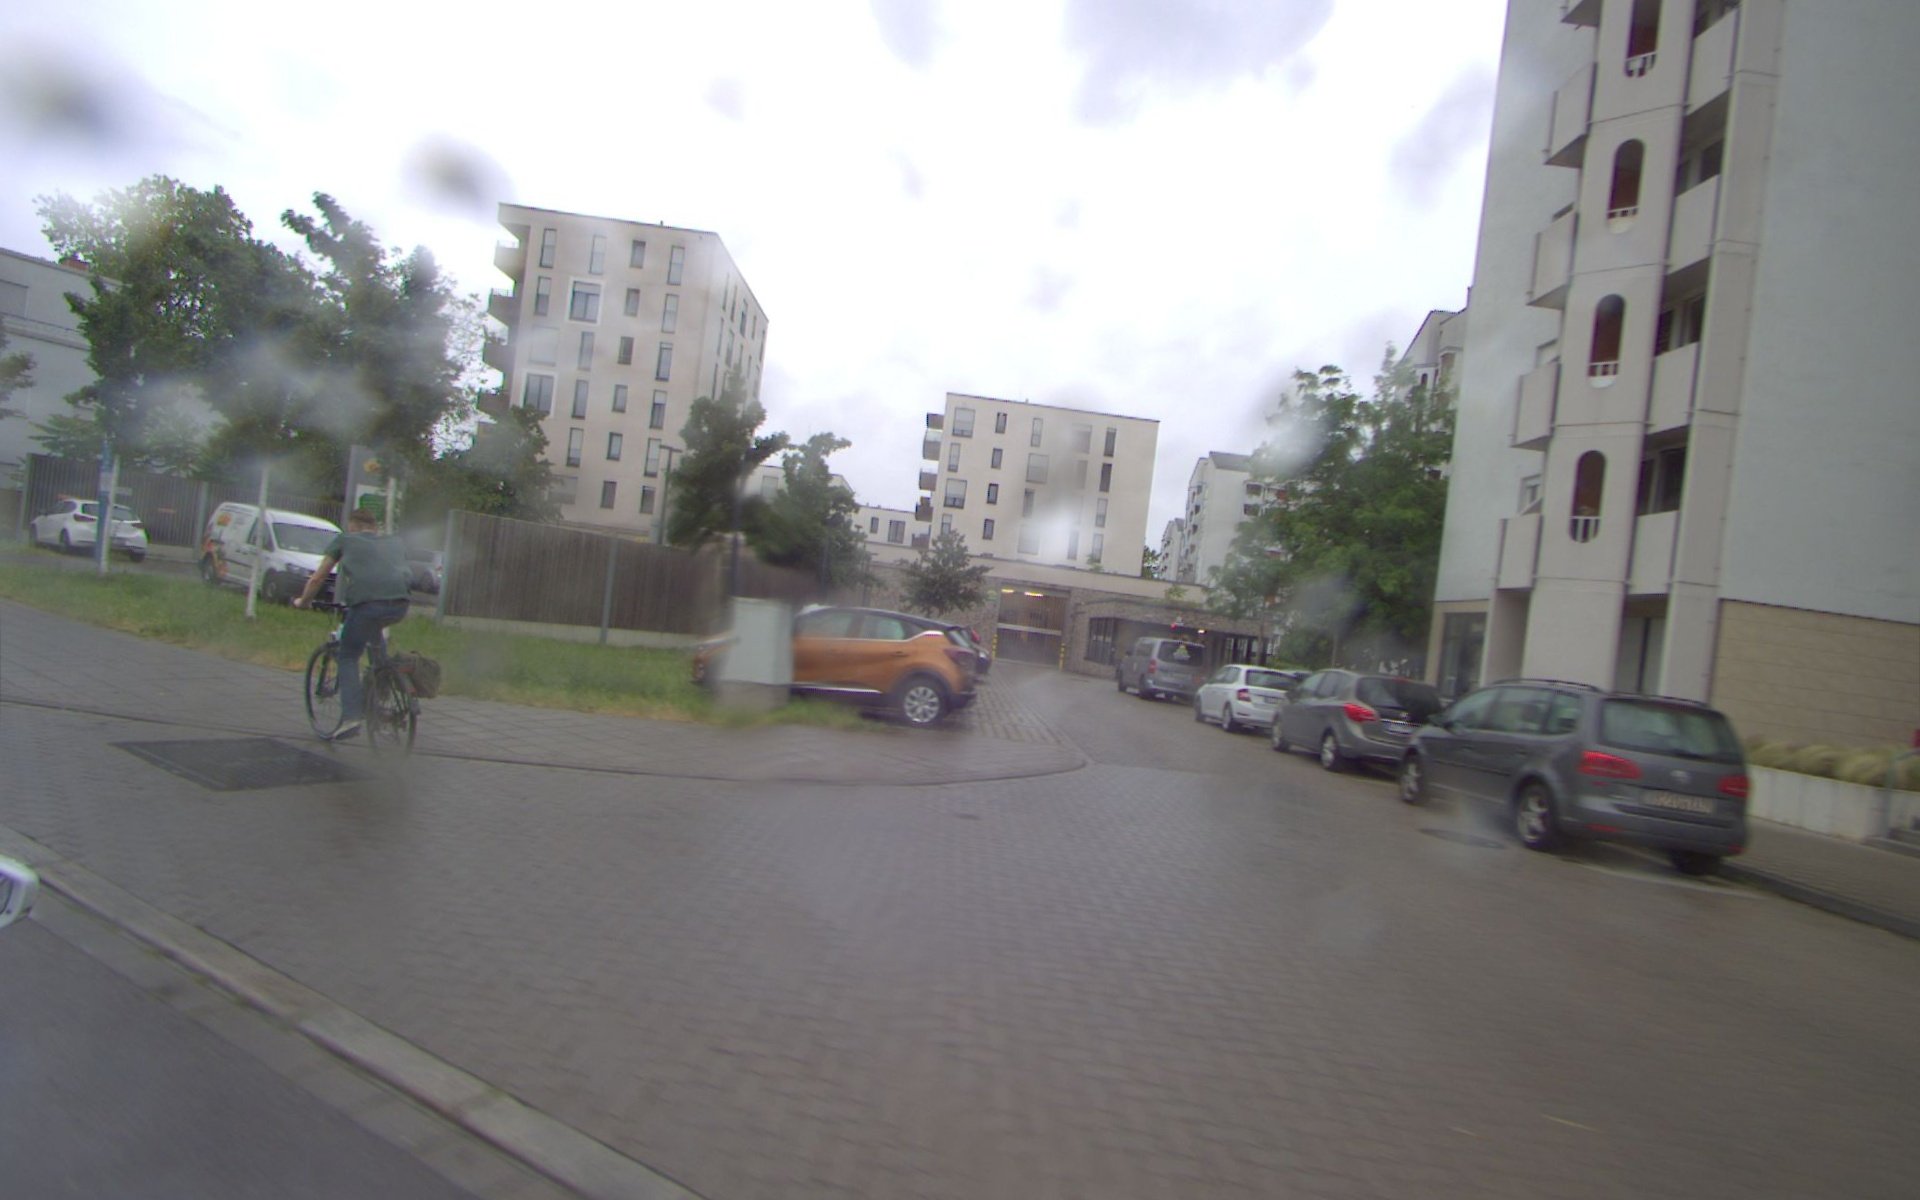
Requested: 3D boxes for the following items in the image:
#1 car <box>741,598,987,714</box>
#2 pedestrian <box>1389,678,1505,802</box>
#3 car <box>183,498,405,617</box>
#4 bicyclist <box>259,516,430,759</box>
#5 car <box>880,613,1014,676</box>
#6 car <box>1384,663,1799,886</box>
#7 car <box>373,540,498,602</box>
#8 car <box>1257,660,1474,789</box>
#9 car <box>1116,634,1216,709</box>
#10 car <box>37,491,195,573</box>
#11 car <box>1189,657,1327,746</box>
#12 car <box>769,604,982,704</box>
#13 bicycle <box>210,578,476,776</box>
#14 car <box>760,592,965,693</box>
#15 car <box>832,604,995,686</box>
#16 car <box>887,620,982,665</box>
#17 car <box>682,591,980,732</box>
[{"bbox_3d":[-1.579,0.974,17.712,3.925,1.458,2.002,7,-2,3],"label":"car"},{"bbox_3d":[6.813,1.933,14.133,1.074,1.535,0.839,7,-1,2],"label":"pedestrian"},{"bbox_3d":[-13.735,-0.901,20.661,4.818,1.805,1.966,7,-1,34],"label":"car"},{"bbox_3d":[-4.309,0.257,7.059,0.758,1.578,0.535,6,-1,24],"label":"bicyclist"},{"bbox_3d":[-0.392,1.493,34.177,4.282,1.448,1.971,8,-1,3],"label":"car"},{"bbox_3d":[6.446,1.665,10.938,1.782,1.635,4.116,8,-2,1],"label":"car"},{"bbox_3d":[-18.375,-1.027,35.218,4.294,1.553,1.966,7,-1,34],"label":"car"},{"bbox_3d":[6.491,1.929,16.652,1.782,1.550,4.116,8,-2,1],"label":"car"},{"bbox_3d":[6.408,2.191,31.736,1.959,1.940,4.280,8,-2,-1],"label":"car"},{"bbox_3d":[-22.110,-1.798,26.308,4.294,1.553,1.966,7,-1,34],"label":"car"},{"bbox_3d":[6.449,2.160,22.229,1.782,1.491,3.800,8,-2,1],"label":"car"},{"bbox_3d":[-1.622,1.083,20.380,3.925,1.458,2.002,7,-2,3],"label":"car"},{"bbox_3d":[-4.354,0.505,7.065,1.914,1.106,0.538,6,-1,26],"label":"bicycle"},{"bbox_3d":[-2.159,0.966,22.987,4.285,1.605,1.970,8,-1,-3],"label":"car"},{"bbox_3d":[-1.314,1.261,28.497,4.285,1.628,1.970,8,-1,-3],"label":"car"},{"bbox_3d":[-1.088,1.885,44.268,3.926,1.458,2.001,7,-2,0],"label":"car"},{"bbox_3d":[-1.768,0.883,14.843,3.925,1.458,2.002,7,-2,3],"label":"car"}]
